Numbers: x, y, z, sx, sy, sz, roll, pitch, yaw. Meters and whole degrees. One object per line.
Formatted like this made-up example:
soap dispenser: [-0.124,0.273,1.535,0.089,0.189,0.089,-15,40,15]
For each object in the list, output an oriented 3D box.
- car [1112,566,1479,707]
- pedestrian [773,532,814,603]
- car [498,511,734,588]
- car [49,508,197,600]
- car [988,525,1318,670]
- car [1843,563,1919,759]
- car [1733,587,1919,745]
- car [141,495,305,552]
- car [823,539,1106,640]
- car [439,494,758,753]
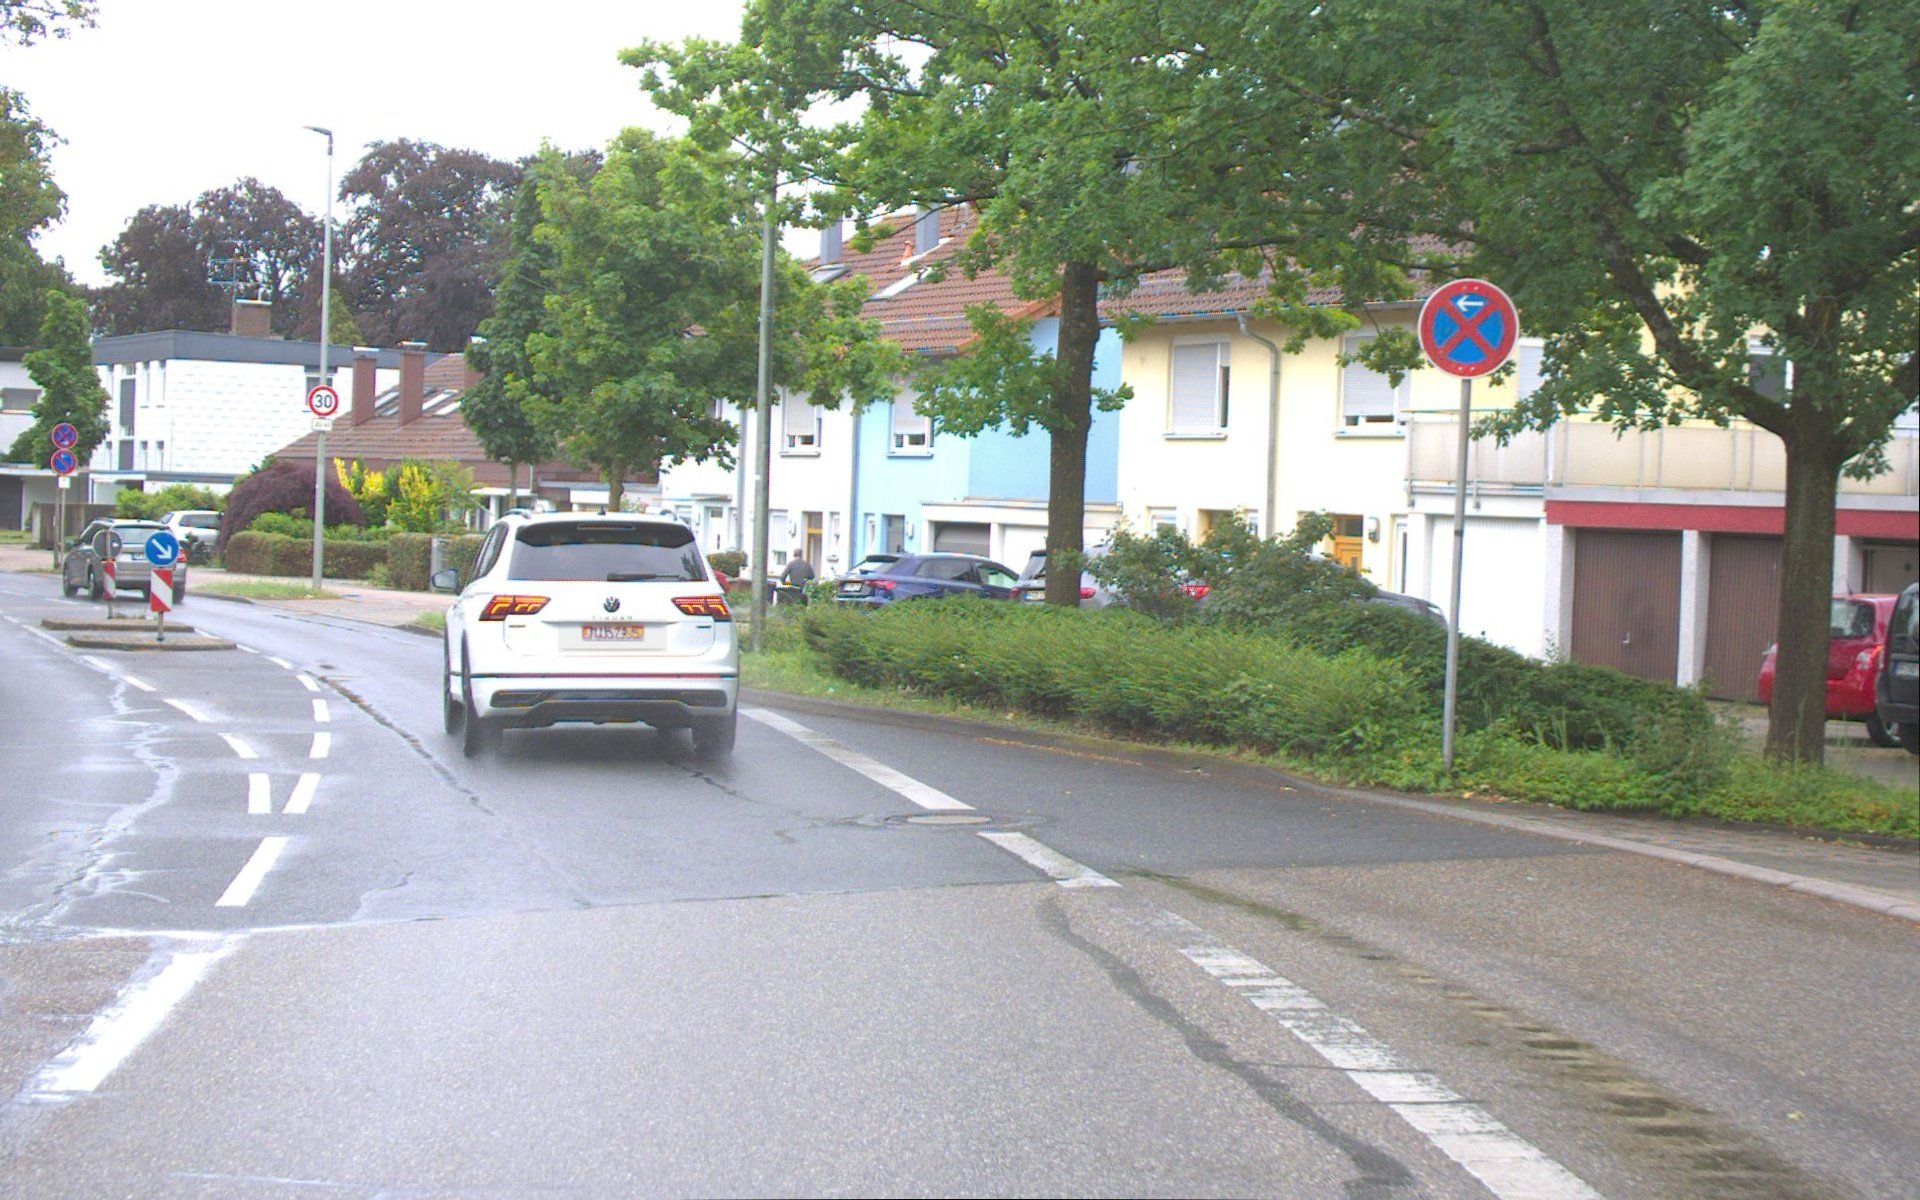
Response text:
car: [4.283,0.466,43.887,4.178,1.666,1.992,1,1,-25]
pedestrian: [-3.243,-0.638,66.976,0.535,1.346,0.529,1,1,-40]
car: [-6.723,-0.975,67.374,4.304,1.256,1.679,3,1,-36]
car: [-15.272,-0.855,62.624,1.768,1.546,4.001,1,1,-26]
car: [2.646,-0.026,46.699,4.179,1.666,1.722,4,0,-34]
car: [10.291,0.591,31.414,3.986,1.715,1.925,1,1,-28]
car: [9.678,0.654,34.020,3.691,1.437,1.707,1,1,-28]
car: [-20.068,-2.077,93.614,3.986,1.437,1.847,1,1,-28]
car: [0.084,-0.158,52.739,3.986,1.382,1.675,2,1,-29]
car: [-2.618,0.110,24.111,1.864,1.645,4.001,1,1,-11]
